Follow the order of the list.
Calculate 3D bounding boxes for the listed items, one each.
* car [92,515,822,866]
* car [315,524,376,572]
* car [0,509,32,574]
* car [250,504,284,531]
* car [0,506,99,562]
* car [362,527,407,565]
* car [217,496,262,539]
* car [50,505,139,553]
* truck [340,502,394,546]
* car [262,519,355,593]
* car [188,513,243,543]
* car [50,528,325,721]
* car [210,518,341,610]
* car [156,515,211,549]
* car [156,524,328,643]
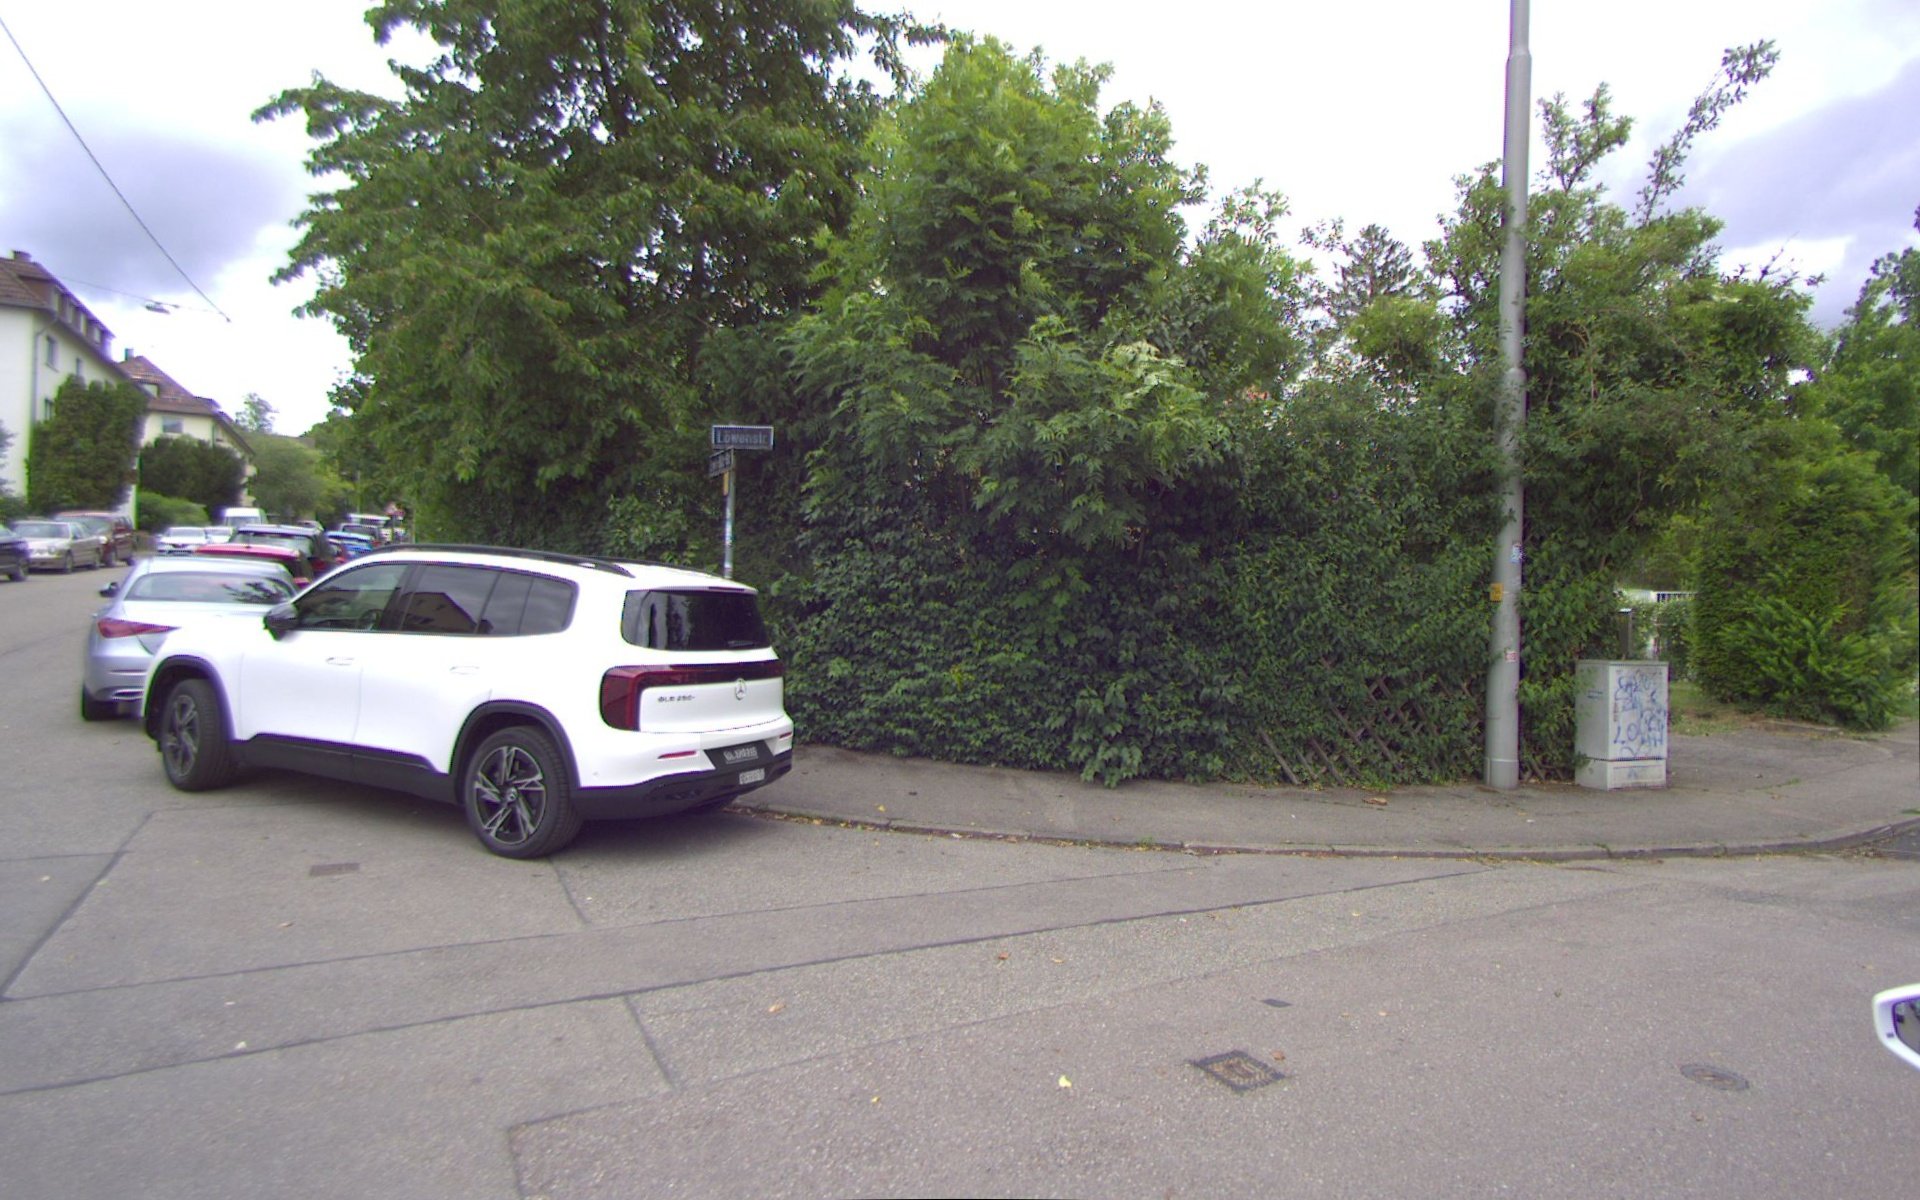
[{"bbox_3d":[-3.328,0.373,6.642,4.427,1.678,1.834,3,2,22],"label":"car"},{"bbox_3d":[-21.194,-1.833,34.761,1.614,1.486,3.994,2,3,-29],"label":"car"},{"bbox_3d":[-22.022,-1.301,21.788,1.771,1.437,4.257,1,4,-29],"label":"car"},{"bbox_3d":[-52.304,-6.201,75.825,1.746,1.890,3.967,1,4,-30],"label":"car"},{"bbox_3d":[-25.457,-1.841,28.011,1.522,1.407,3.523,1,3,-29],"label":"car"},{"bbox_3d":[-25.239,-2.390,44.142,1.614,1.486,3.994,2,3,-29],"label":"car"},{"bbox_3d":[-44.375,-5.040,61.934,1.954,2.432,4.652,1,3,-33],"label":"car"},{"bbox_3d":[-28.051,-2.293,32.634,1.522,1.407,3.351,1,3,-29],"label":"car"},{"bbox_3d":[-35.176,-4.505,59.695,2.399,2.389,4.866,2,3,-27],"label":"truck"},{"bbox_3d":[-15.733,-1.110,24.412,1.614,1.571,3.994,2,4,-29],"label":"car"},{"bbox_3d":[-39.146,-3.816,52.919,1.771,1.437,4.201,1,4,-29],"label":"car"},{"bbox_3d":[-7.742,0.081,10.205,1.818,1.456,4.466,1,4,-37],"label":"car"},{"bbox_3d":[-13.336,-0.773,19.780,1.743,1.571,4.217,2,3,-29],"label":"car"},{"bbox_3d":[-35.779,-3.143,46.340,1.522,1.407,3.351,1,3,-29],"label":"car"},{"bbox_3d":[-10.320,-0.306,14.676,1.614,1.456,3.758,2,4,-29],"label":"car"}]
